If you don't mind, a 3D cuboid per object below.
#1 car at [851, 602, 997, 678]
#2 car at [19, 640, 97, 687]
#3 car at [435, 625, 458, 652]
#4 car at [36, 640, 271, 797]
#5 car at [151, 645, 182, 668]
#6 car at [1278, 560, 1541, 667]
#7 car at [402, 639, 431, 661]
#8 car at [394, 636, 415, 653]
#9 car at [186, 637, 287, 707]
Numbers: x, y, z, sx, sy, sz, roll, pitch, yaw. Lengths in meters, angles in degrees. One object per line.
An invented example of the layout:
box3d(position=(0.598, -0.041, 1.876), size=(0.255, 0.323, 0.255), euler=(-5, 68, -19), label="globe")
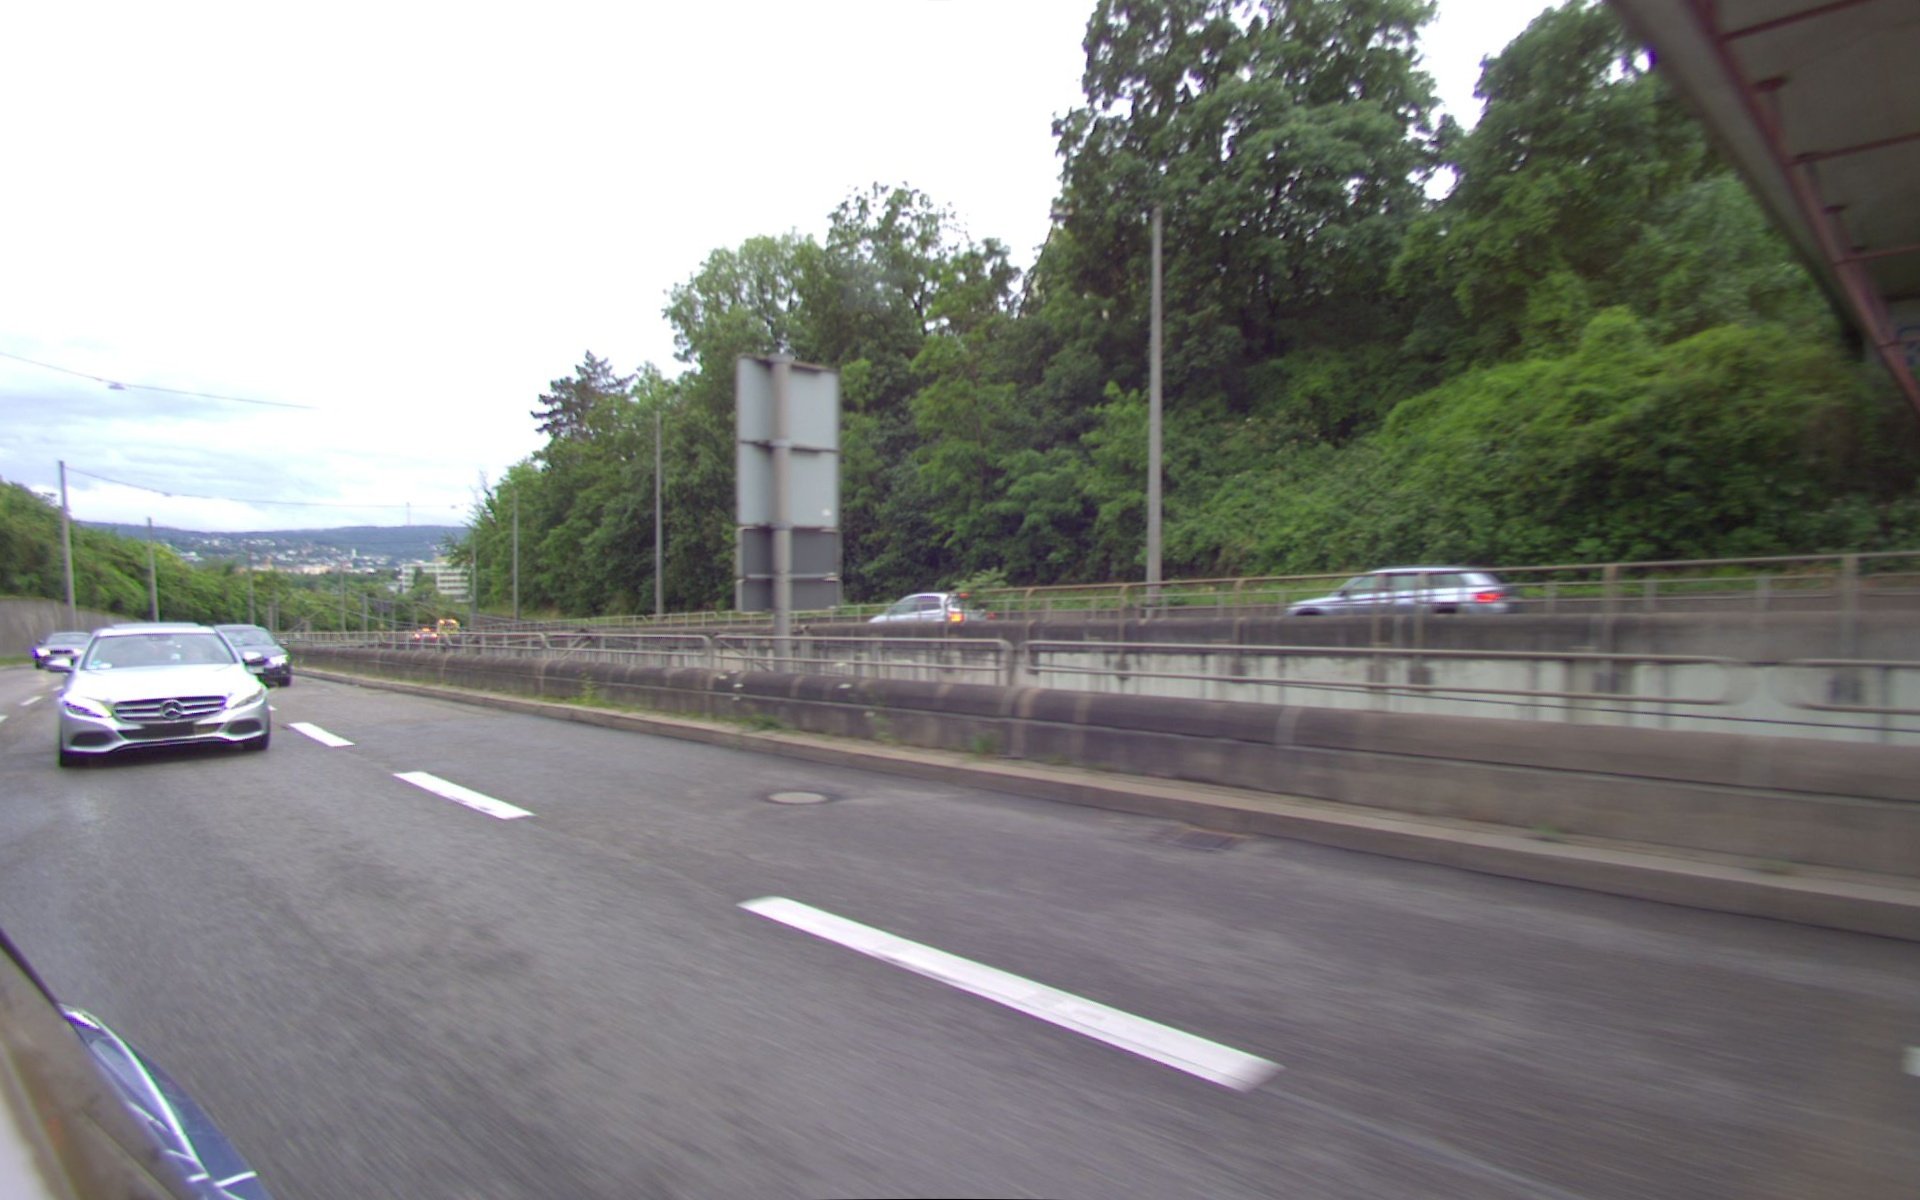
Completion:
box3d(position=(-1.014, 1.038, 26.720), size=(1.651, 1.844, 4.004), euler=(1, -2, -43), label="car")
box3d(position=(-35.244, 2.448, 39.627), size=(1.781, 1.521, 4.010), euler=(-3, 1, -35), label="car")
box3d(position=(-55.073, 4.089, 108.504), size=(2.152, 2.755, 6.365), euler=(1, -2, -27), label="car")
box3d(position=(-9.443, 1.208, 11.790), size=(1.834, 1.413, 4.321), euler=(-1, -1, -41), label="car")
box3d(position=(-61.527, 4.376, 78.472), size=(1.782, 1.521, 4.008), euler=(-3, 1, -38), label="car")
box3d(position=(8.960, 0.295, 20.478), size=(4.561, 1.930, 1.652), euler=(-1, -2, 45), label="car")
box3d(position=(-44.621, 4.059, 83.040), size=(1.934, 1.763, 4.153), euler=(1, -2, -31), label="car")
box3d(position=(-58.508, 4.636, 106.632), size=(1.792, 1.717, 4.124), euler=(1, -2, -28), label="car")
box3d(position=(-17.273, 1.642, 24.094), size=(1.703, 1.482, 3.894), euler=(0, -2, -40), label="car")
